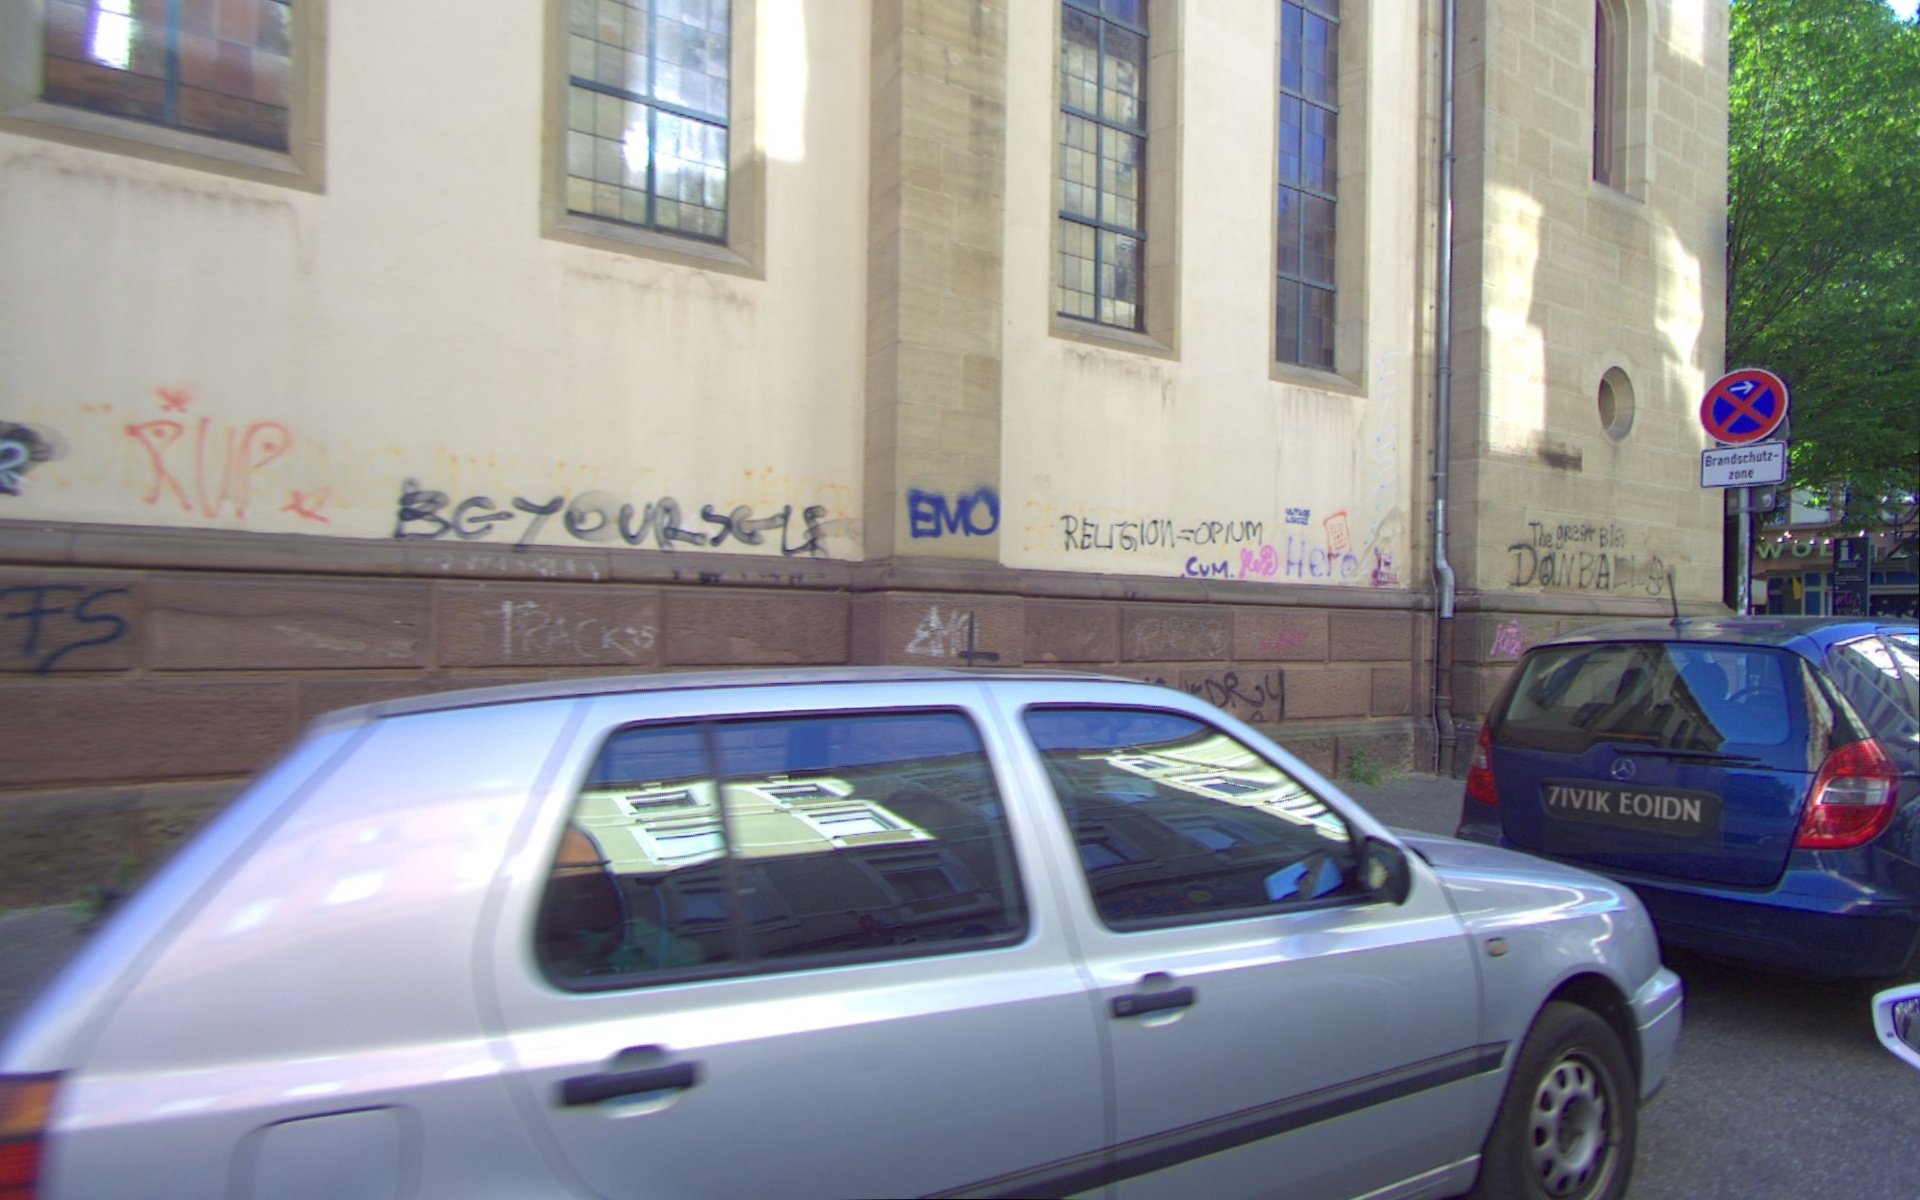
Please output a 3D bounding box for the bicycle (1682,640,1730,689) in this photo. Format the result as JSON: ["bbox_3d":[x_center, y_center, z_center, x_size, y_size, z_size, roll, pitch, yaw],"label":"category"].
[{"bbox_3d":[18.119,1.554,24.393,1.915,1.106,0.227,0,1,-31],"label":"bicycle"}]

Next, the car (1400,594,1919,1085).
[{"bbox_3d":[4.202,0.838,4.984,3.789,1.572,1.785,2,0,-30],"label":"car"}]

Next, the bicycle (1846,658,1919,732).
[{"bbox_3d":[14.886,1.489,15.569,0.343,1.079,1.680,2,0,-31],"label":"bicycle"}]

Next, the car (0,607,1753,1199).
[{"bbox_3d":[0.047,0.793,2.499,4.096,1.382,1.565,2,0,-29],"label":"car"}]

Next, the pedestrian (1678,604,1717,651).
[{"bbox_3d":[21.873,0.816,29.784,0.604,1.338,0.695,2,0,-22],"label":"pedestrian"}]
